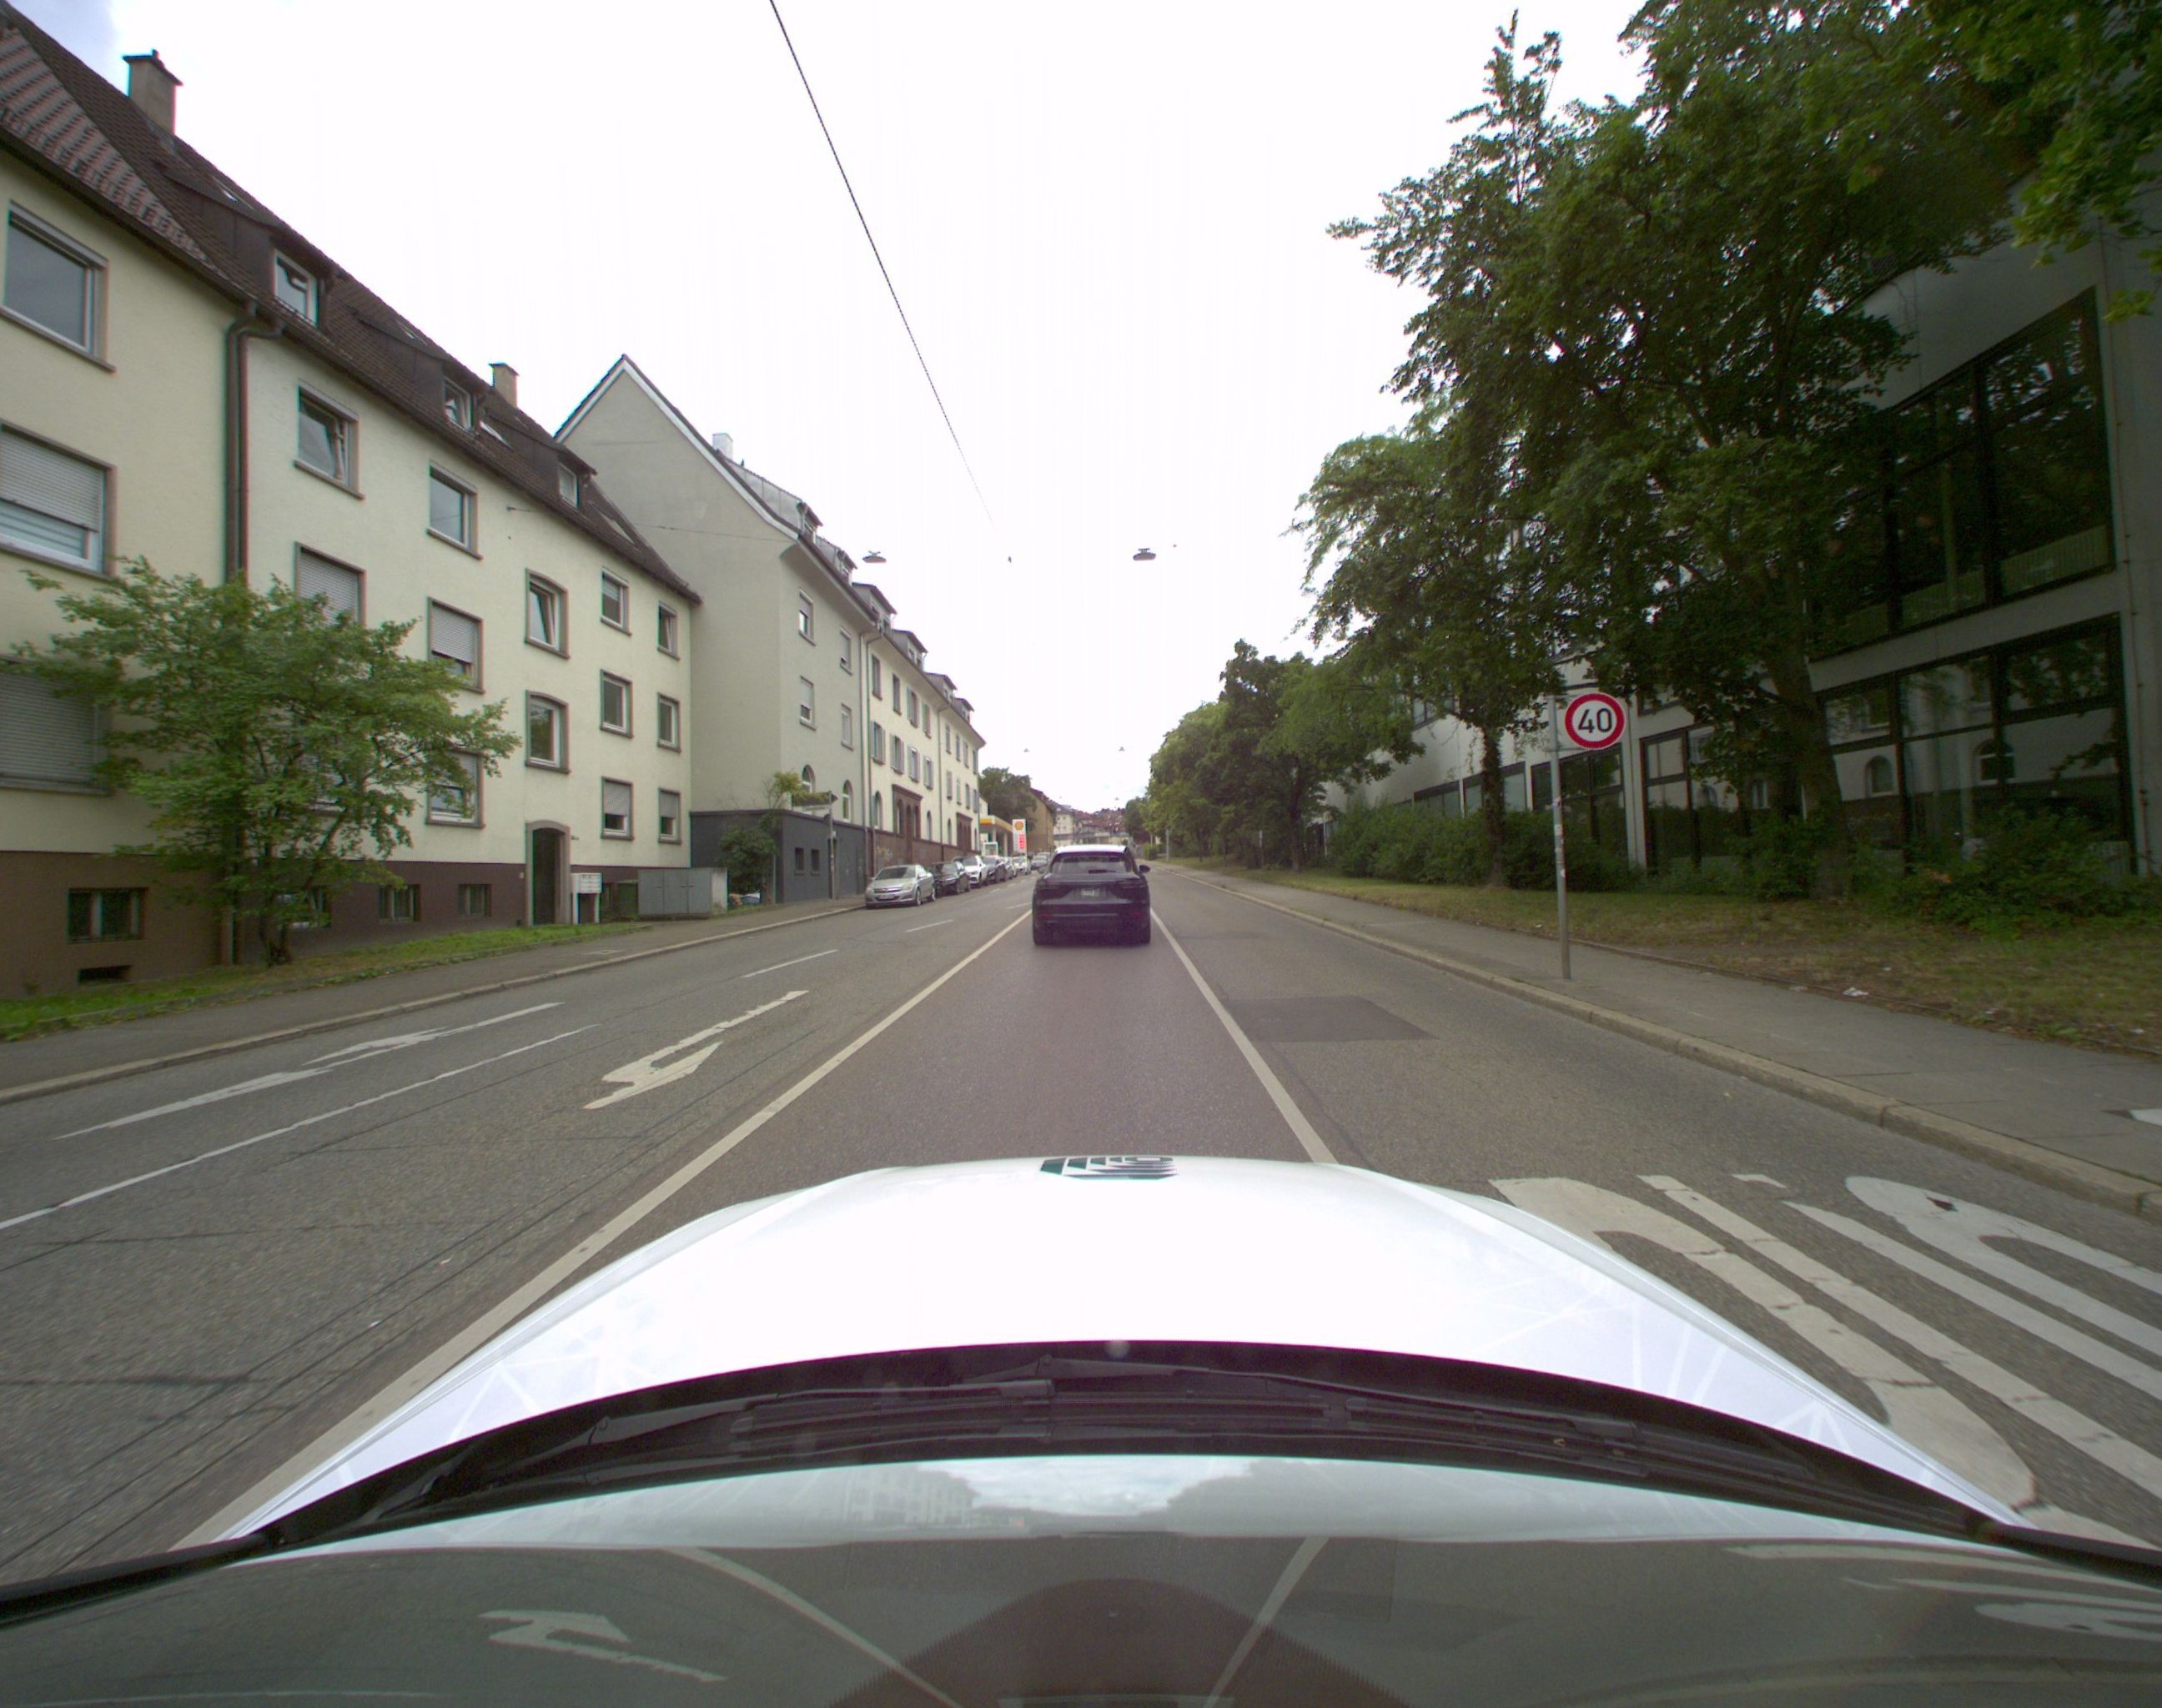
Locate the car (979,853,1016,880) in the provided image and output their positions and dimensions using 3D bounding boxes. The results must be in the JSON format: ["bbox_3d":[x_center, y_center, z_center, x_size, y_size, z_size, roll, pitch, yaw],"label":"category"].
[{"bbox_3d":[-5.311,0.789,52.193,1.721,1.558,4.082,-4,0,1],"label":"car"}]

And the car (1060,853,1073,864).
[{"bbox_3d":[-2.381,0.733,132.766,1.775,1.609,4.268,-4,0,3],"label":"car"}]

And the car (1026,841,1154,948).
[{"bbox_3d":[0.217,0.621,14.817,1.986,1.662,4.003,-1,0,2],"label":"car"}]

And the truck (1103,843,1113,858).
[{"bbox_3d":[6.231,-0.756,190.113,2.258,3.424,9.882,-2,0,2],"label":"truck"}]

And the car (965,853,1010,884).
[{"bbox_3d":[-5.320,0.775,47.012,1.719,1.599,4.507,-2,0,4],"label":"car"}]

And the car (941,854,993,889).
[{"bbox_3d":[-5.759,0.844,41.702,1.839,1.621,4.644,-2,0,1],"label":"car"}]

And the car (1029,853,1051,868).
[{"bbox_3d":[-4.244,0.625,84.550,1.784,1.450,4.220,-3,0,2],"label":"car"}]

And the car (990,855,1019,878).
[{"bbox_3d":[-5.321,0.876,57.130,1.542,1.475,3.605,-2,0,2],"label":"car"}]

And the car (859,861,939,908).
[{"bbox_3d":[-6.184,1.003,28.154,1.721,1.374,4.338,-2,0,1],"label":"car"}]

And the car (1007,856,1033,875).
[{"bbox_3d":[-4.952,0.898,66.406,1.613,1.425,3.667,-2,0,2],"label":"car"}]

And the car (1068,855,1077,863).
[{"bbox_3d":[-1.655,1.007,162.908,1.740,1.568,3.907,-3,0,0],"label":"car"}]

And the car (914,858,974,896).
[{"bbox_3d":[-5.899,0.957,35.458,1.720,1.429,4.193,-2,0,2],"label":"car"}]

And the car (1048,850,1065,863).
[{"bbox_3d":[-3.350,0.327,111.060,1.907,1.577,4.703,-2,0,3],"label":"car"}]

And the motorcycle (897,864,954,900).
[{"bbox_3d":[-6.062,1.085,31.764,2.045,1.235,0.803,-4,0,-16],"label":"motorcycle"}]
